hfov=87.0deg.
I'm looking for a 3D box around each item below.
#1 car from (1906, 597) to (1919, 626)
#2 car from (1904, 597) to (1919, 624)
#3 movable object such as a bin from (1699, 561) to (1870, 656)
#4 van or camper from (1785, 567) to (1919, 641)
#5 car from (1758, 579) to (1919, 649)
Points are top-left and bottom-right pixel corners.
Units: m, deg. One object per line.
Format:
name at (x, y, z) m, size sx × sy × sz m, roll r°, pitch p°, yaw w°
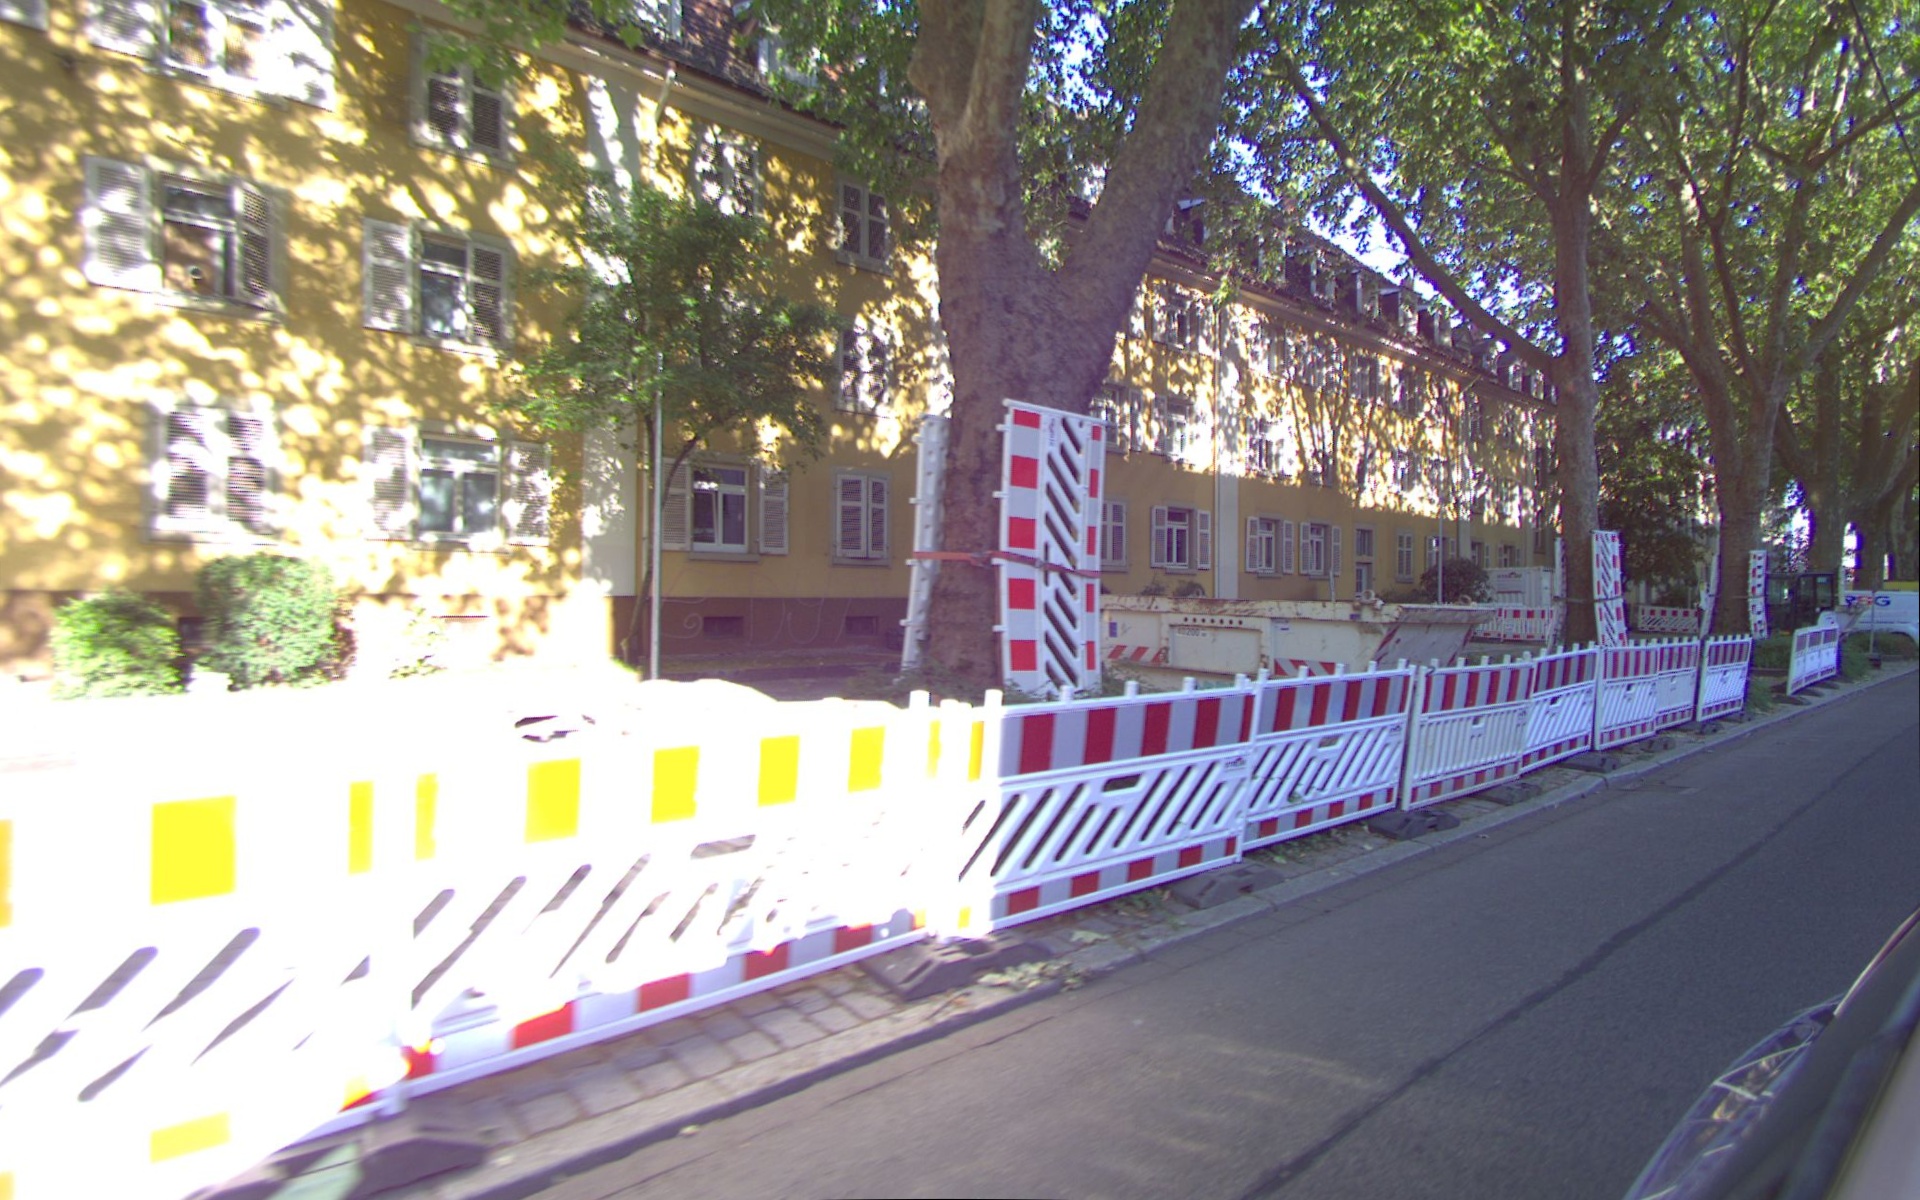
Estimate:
car at (57.533, 0.744, 58.211) m, size 1.875 × 1.678 × 4.432 m, roll 0°, pitch 2°, yaw -42°
car at (53.687, 0.669, 54.705) m, size 1.832 × 1.441 × 3.661 m, roll 1°, pitch 2°, yaw -39°
movable object such as a bin at (20.556, 0.214, 25.280) m, size 3.210 × 2.298 × 1.488 m, roll 0°, pitch 0°, yaw -7°
van or camper at (35.115, 0.113, 38.115) m, size 2.229 × 2.662 × 5.940 m, roll -1°, pitch 1°, yaw -38°
car at (28.198, 0.393, 31.624) m, size 2.027 × 2.038 × 4.843 m, roll 1°, pitch 1°, yaw -41°
